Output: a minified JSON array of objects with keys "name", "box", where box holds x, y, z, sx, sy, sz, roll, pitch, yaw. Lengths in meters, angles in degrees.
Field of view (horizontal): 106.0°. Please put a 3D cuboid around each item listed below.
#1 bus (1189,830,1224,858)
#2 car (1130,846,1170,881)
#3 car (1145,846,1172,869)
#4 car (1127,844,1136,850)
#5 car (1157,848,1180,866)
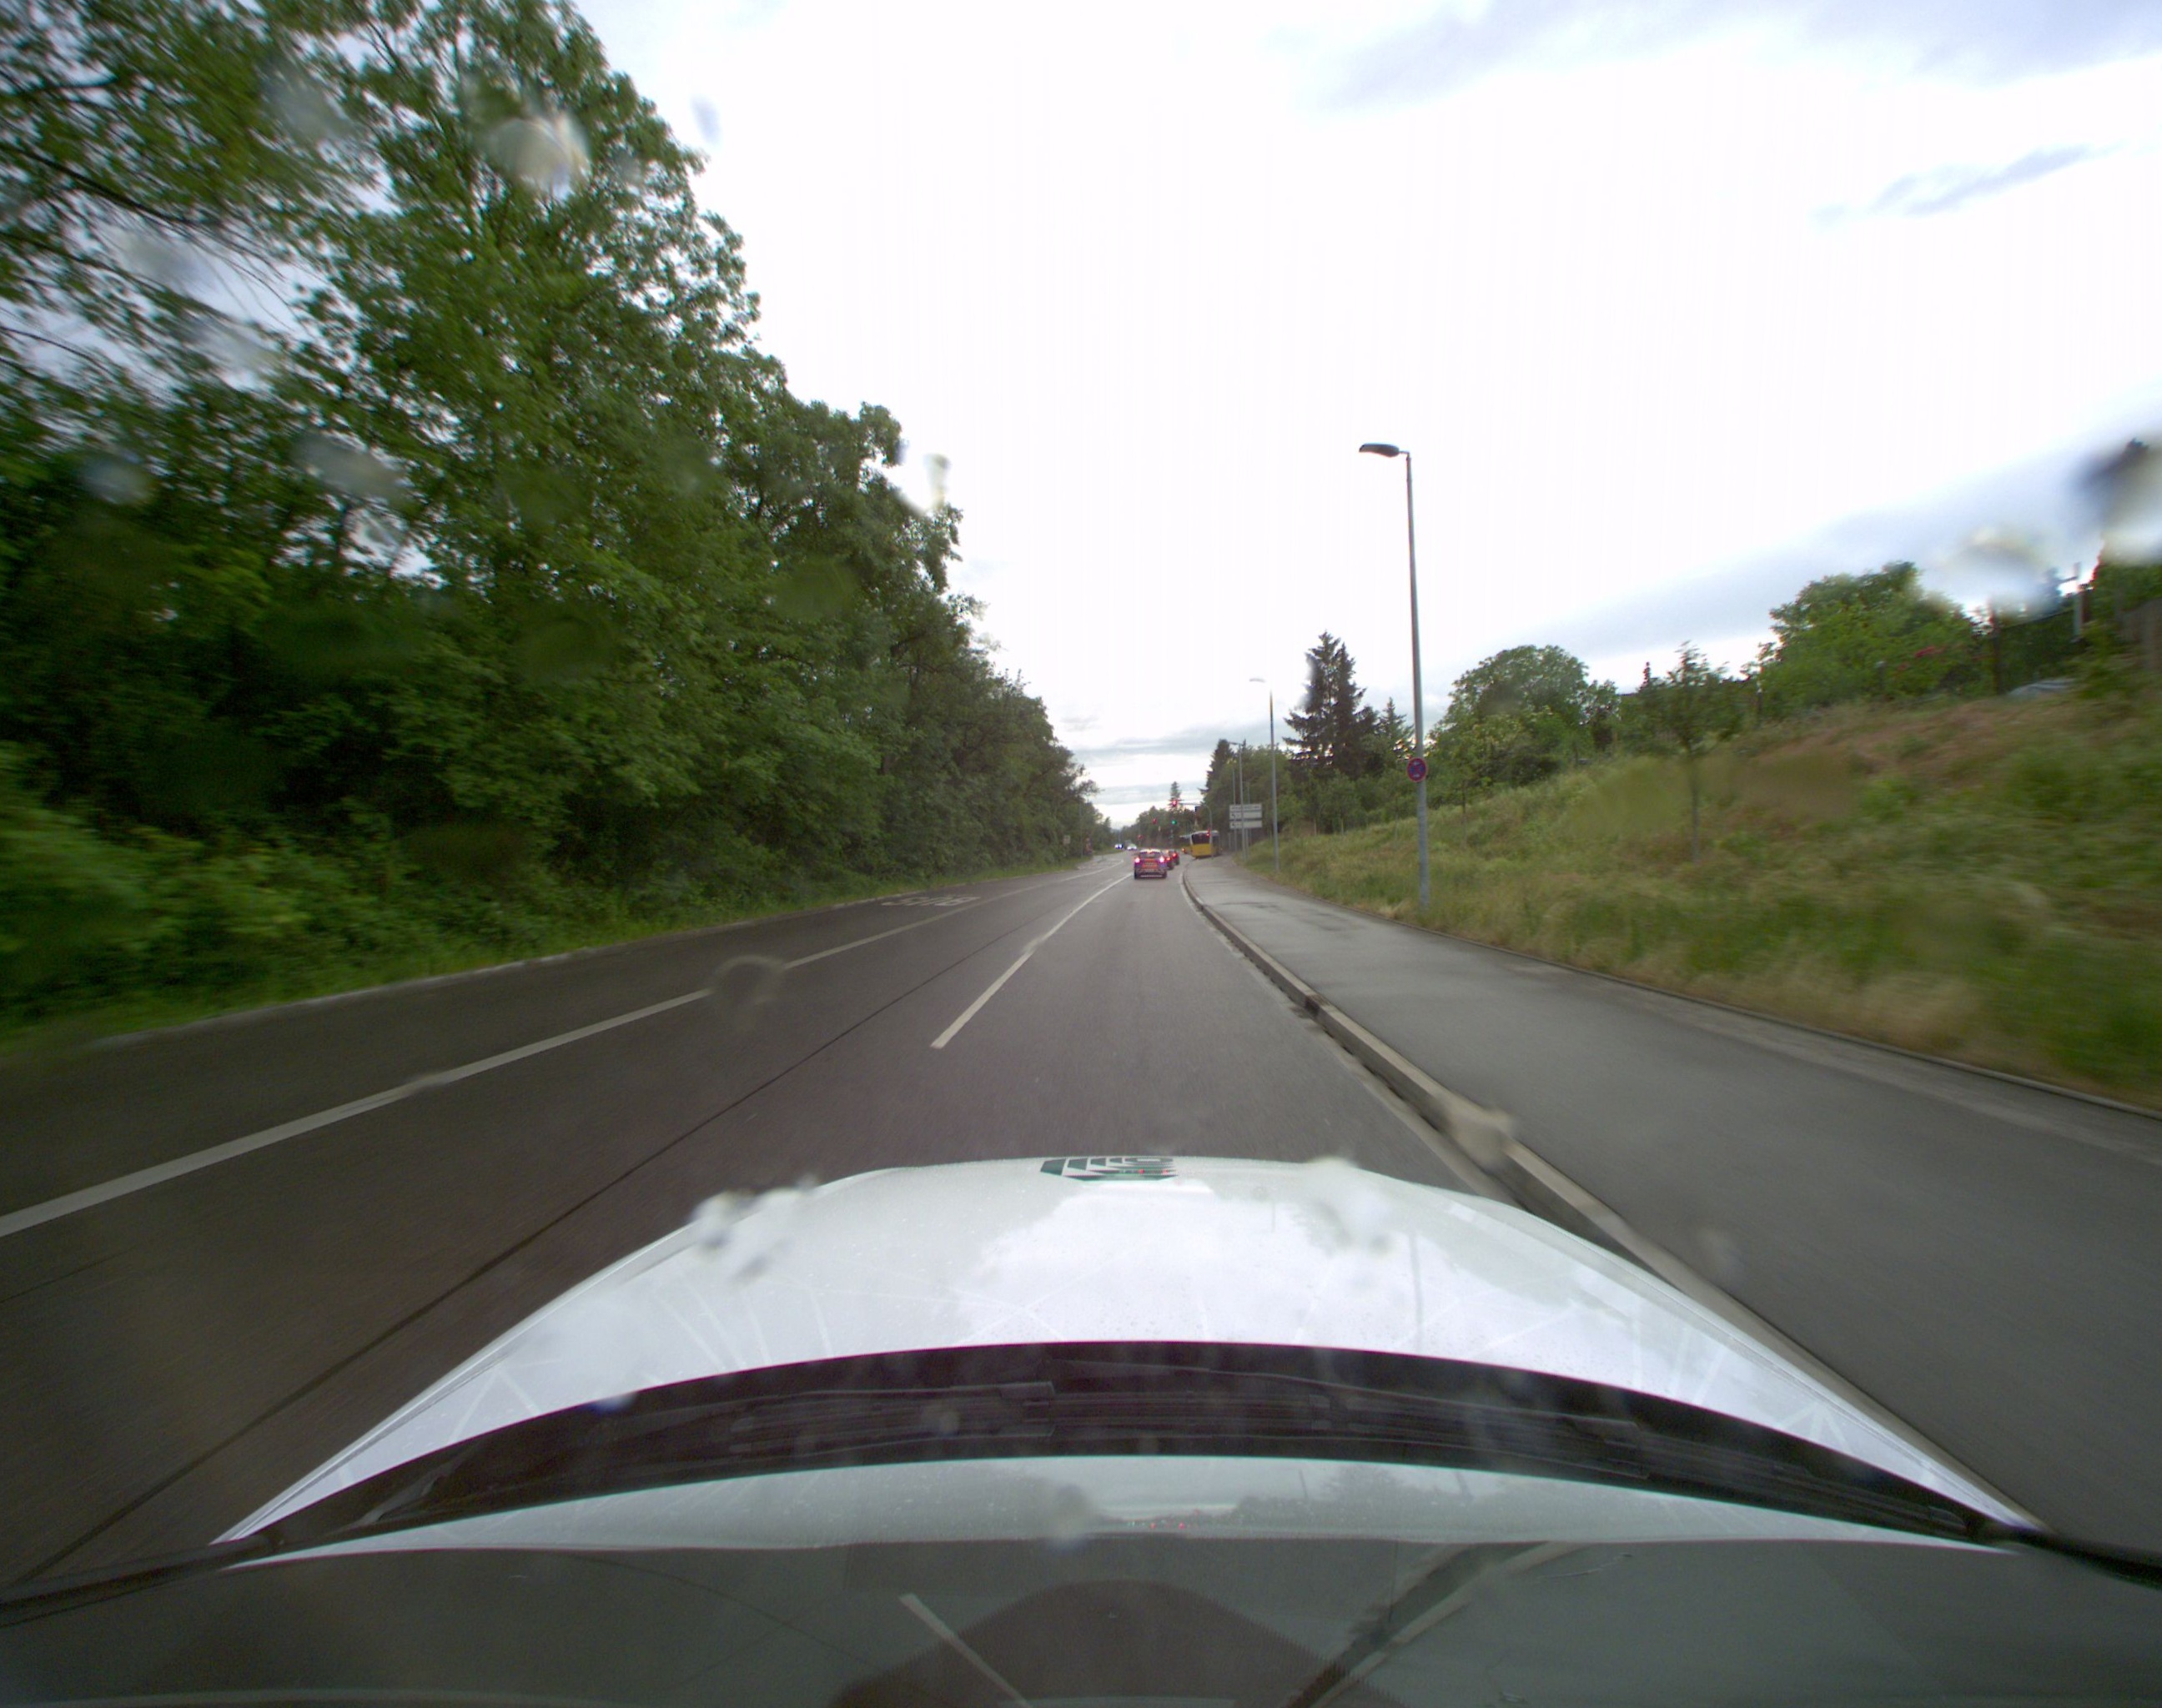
[{"name":"bus","box":[14.701,-1.118,94.928,2.795,3.142,9.219,-1,0,16]},{"name":"car","box":[3.804,0.477,45.024,1.984,1.689,4.006,-3,1,4]},{"name":"car","box":[5.810,0.241,61.341,1.918,1.486,3.804,-3,1,4]},{"name":"car","box":[12.079,-1.690,195.867,1.987,1.420,4.000,-1,0,1]},{"name":"car","box":[7.865,0.296,73.665,1.984,1.552,4.006,-1,0,6]}]
